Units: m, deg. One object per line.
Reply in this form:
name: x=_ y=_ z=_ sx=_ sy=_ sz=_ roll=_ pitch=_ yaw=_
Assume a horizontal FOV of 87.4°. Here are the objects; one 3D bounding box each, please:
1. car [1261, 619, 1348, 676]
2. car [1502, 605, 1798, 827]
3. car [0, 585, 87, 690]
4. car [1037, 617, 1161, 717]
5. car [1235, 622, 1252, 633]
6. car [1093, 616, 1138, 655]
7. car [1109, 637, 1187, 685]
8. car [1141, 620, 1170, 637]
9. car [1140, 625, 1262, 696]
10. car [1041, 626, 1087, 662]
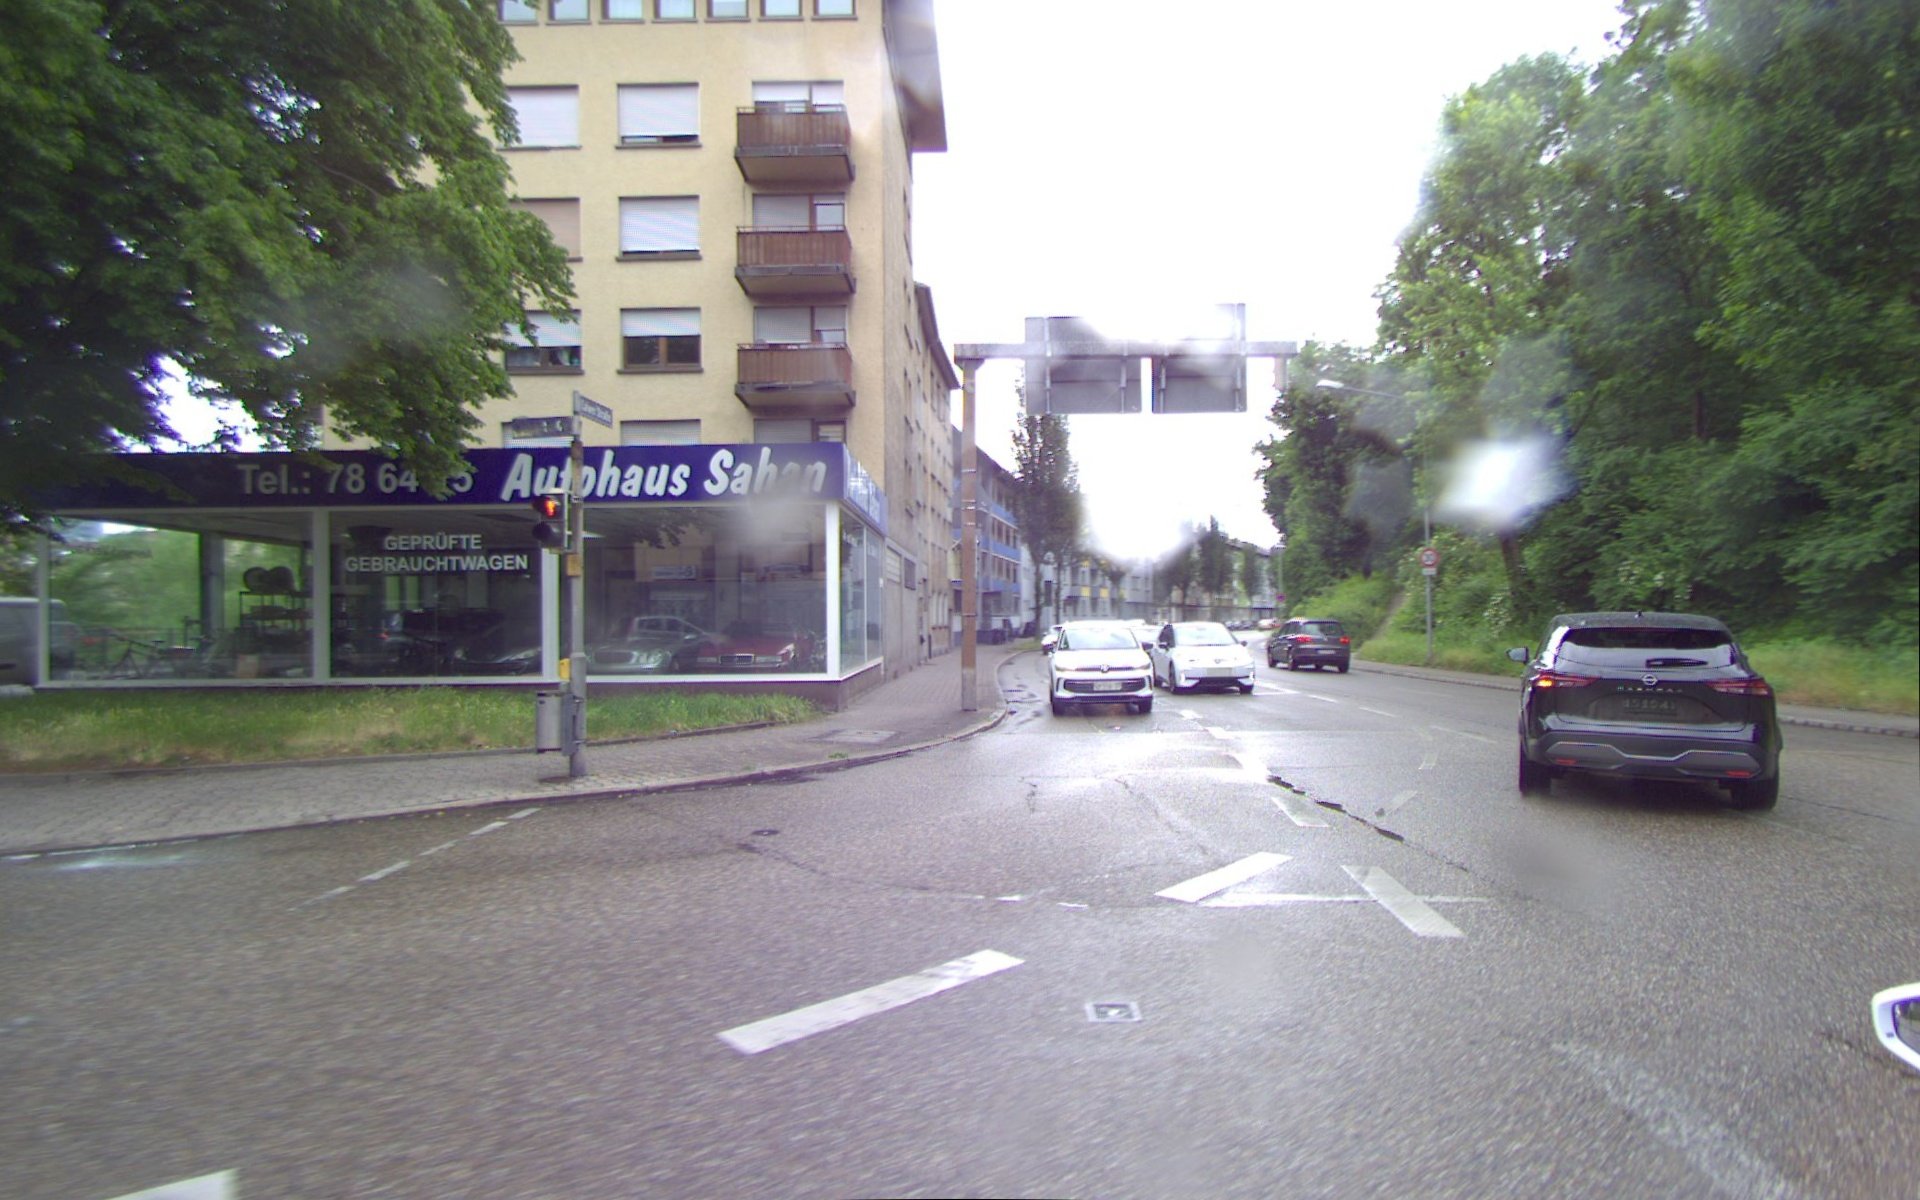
car: x=11.084 y=1.474 z=32.602 sx=1.780 sy=1.624 sz=4.002 roll=0 pitch=0 yaw=5
car: x=6.251 y=0.889 z=9.569 sx=1.783 sy=1.624 sz=3.995 roll=-1 pitch=-1 yaw=27
car: x=-18.051 y=0.685 z=17.361 sx=1.962 sy=1.879 sz=4.755 roll=-1 pitch=-1 yaw=-4
car: x=2.551 y=1.235 z=19.546 sx=1.897 sy=1.667 sz=4.633 roll=-2 pitch=-2 yaw=2
car: x=43.049 y=4.105 z=152.451 sx=1.900 sy=1.667 sz=3.836 roll=0 pitch=-1 yaw=27
car: x=7.311 y=1.630 z=46.846 sx=1.959 sy=1.739 sz=4.003 roll=0 pitch=-1 yaw=10
car: x=5.892 y=1.886 z=31.945 sx=1.726 sy=1.386 sz=4.633 roll=-2 pitch=-2 yaw=2
car: x=19.902 y=2.896 z=102.270 sx=1.900 sy=1.667 sz=3.836 roll=0 pitch=-1 yaw=27
car: x=5.540 y=1.376 z=23.684 sx=1.897 sy=1.459 sz=4.633 roll=-2 pitch=-2 yaw=2
car: x=5.292 y=2.186 z=50.712 sx=1.896 sy=1.667 sz=4.634 roll=0 pitch=-1 yaw=11
